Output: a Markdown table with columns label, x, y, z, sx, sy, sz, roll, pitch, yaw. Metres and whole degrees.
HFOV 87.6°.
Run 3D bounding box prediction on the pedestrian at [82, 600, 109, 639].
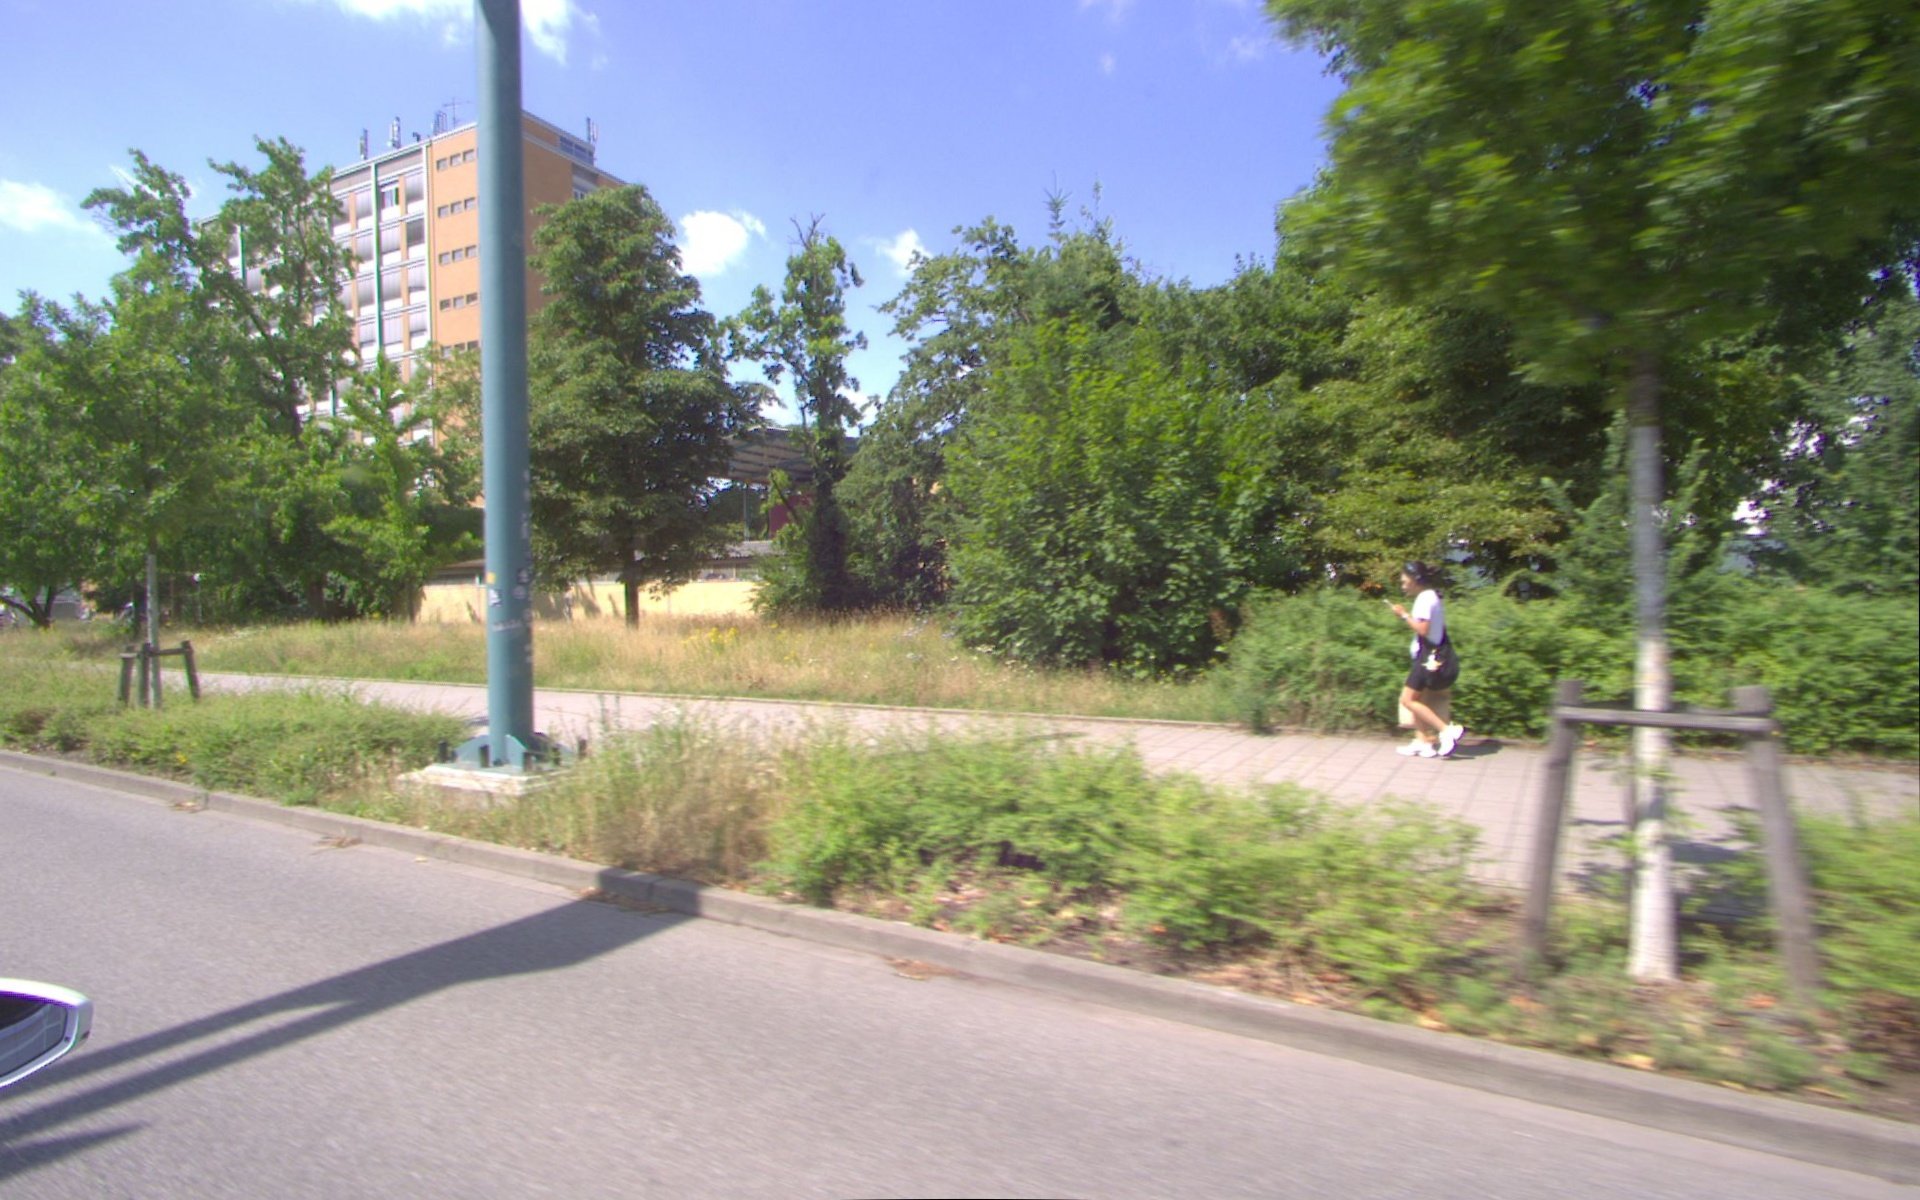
| label | x | y | z | sx | sy | sz | roll | pitch | yaw |
| --- | --- | --- | --- | --- | --- | --- | --- | --- | --- |
| pedestrian | -45.959 | 1.031 | 53.263 | 0.832 | 2.085 | 0.740 | 0 | 1 | 16 |

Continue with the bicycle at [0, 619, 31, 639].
| label | x | y | z | sx | sy | sz | roll | pitch | yaw |
| --- | --- | --- | --- | --- | --- | --- | --- | --- | --- |
| bicycle | -47.405 | 1.434 | 49.925 | 1.557 | 0.968 | 0.482 | 0 | 0 | -40 |

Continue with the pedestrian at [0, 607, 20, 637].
| label | x | y | z | sx | sy | sz | roll | pitch | yaw |
| --- | --- | --- | --- | --- | --- | --- | --- | --- | --- |
| pedestrian | -47.461 | 1.077 | 49.881 | 0.892 | 1.491 | 0.482 | -1 | 1 | -39 |

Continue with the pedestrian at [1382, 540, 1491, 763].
| label | x | y | z | sx | sy | sz | roll | pitch | yaw |
| --- | --- | --- | --- | --- | --- | --- | --- | --- | --- |
| pedestrian | 3.968 | 0.406 | 8.330 | 0.736 | 1.744 | 0.721 | 0 | 0 | 33 |

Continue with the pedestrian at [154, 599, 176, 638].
| label | x | y | z | sx | sy | sz | roll | pitch | yaw |
| --- | --- | --- | --- | --- | --- | --- | --- | --- | --- |
| pedestrian | -43.229 | 1.000 | 54.466 | 0.835 | 2.085 | 0.737 | 0 | 1 | -30 |
